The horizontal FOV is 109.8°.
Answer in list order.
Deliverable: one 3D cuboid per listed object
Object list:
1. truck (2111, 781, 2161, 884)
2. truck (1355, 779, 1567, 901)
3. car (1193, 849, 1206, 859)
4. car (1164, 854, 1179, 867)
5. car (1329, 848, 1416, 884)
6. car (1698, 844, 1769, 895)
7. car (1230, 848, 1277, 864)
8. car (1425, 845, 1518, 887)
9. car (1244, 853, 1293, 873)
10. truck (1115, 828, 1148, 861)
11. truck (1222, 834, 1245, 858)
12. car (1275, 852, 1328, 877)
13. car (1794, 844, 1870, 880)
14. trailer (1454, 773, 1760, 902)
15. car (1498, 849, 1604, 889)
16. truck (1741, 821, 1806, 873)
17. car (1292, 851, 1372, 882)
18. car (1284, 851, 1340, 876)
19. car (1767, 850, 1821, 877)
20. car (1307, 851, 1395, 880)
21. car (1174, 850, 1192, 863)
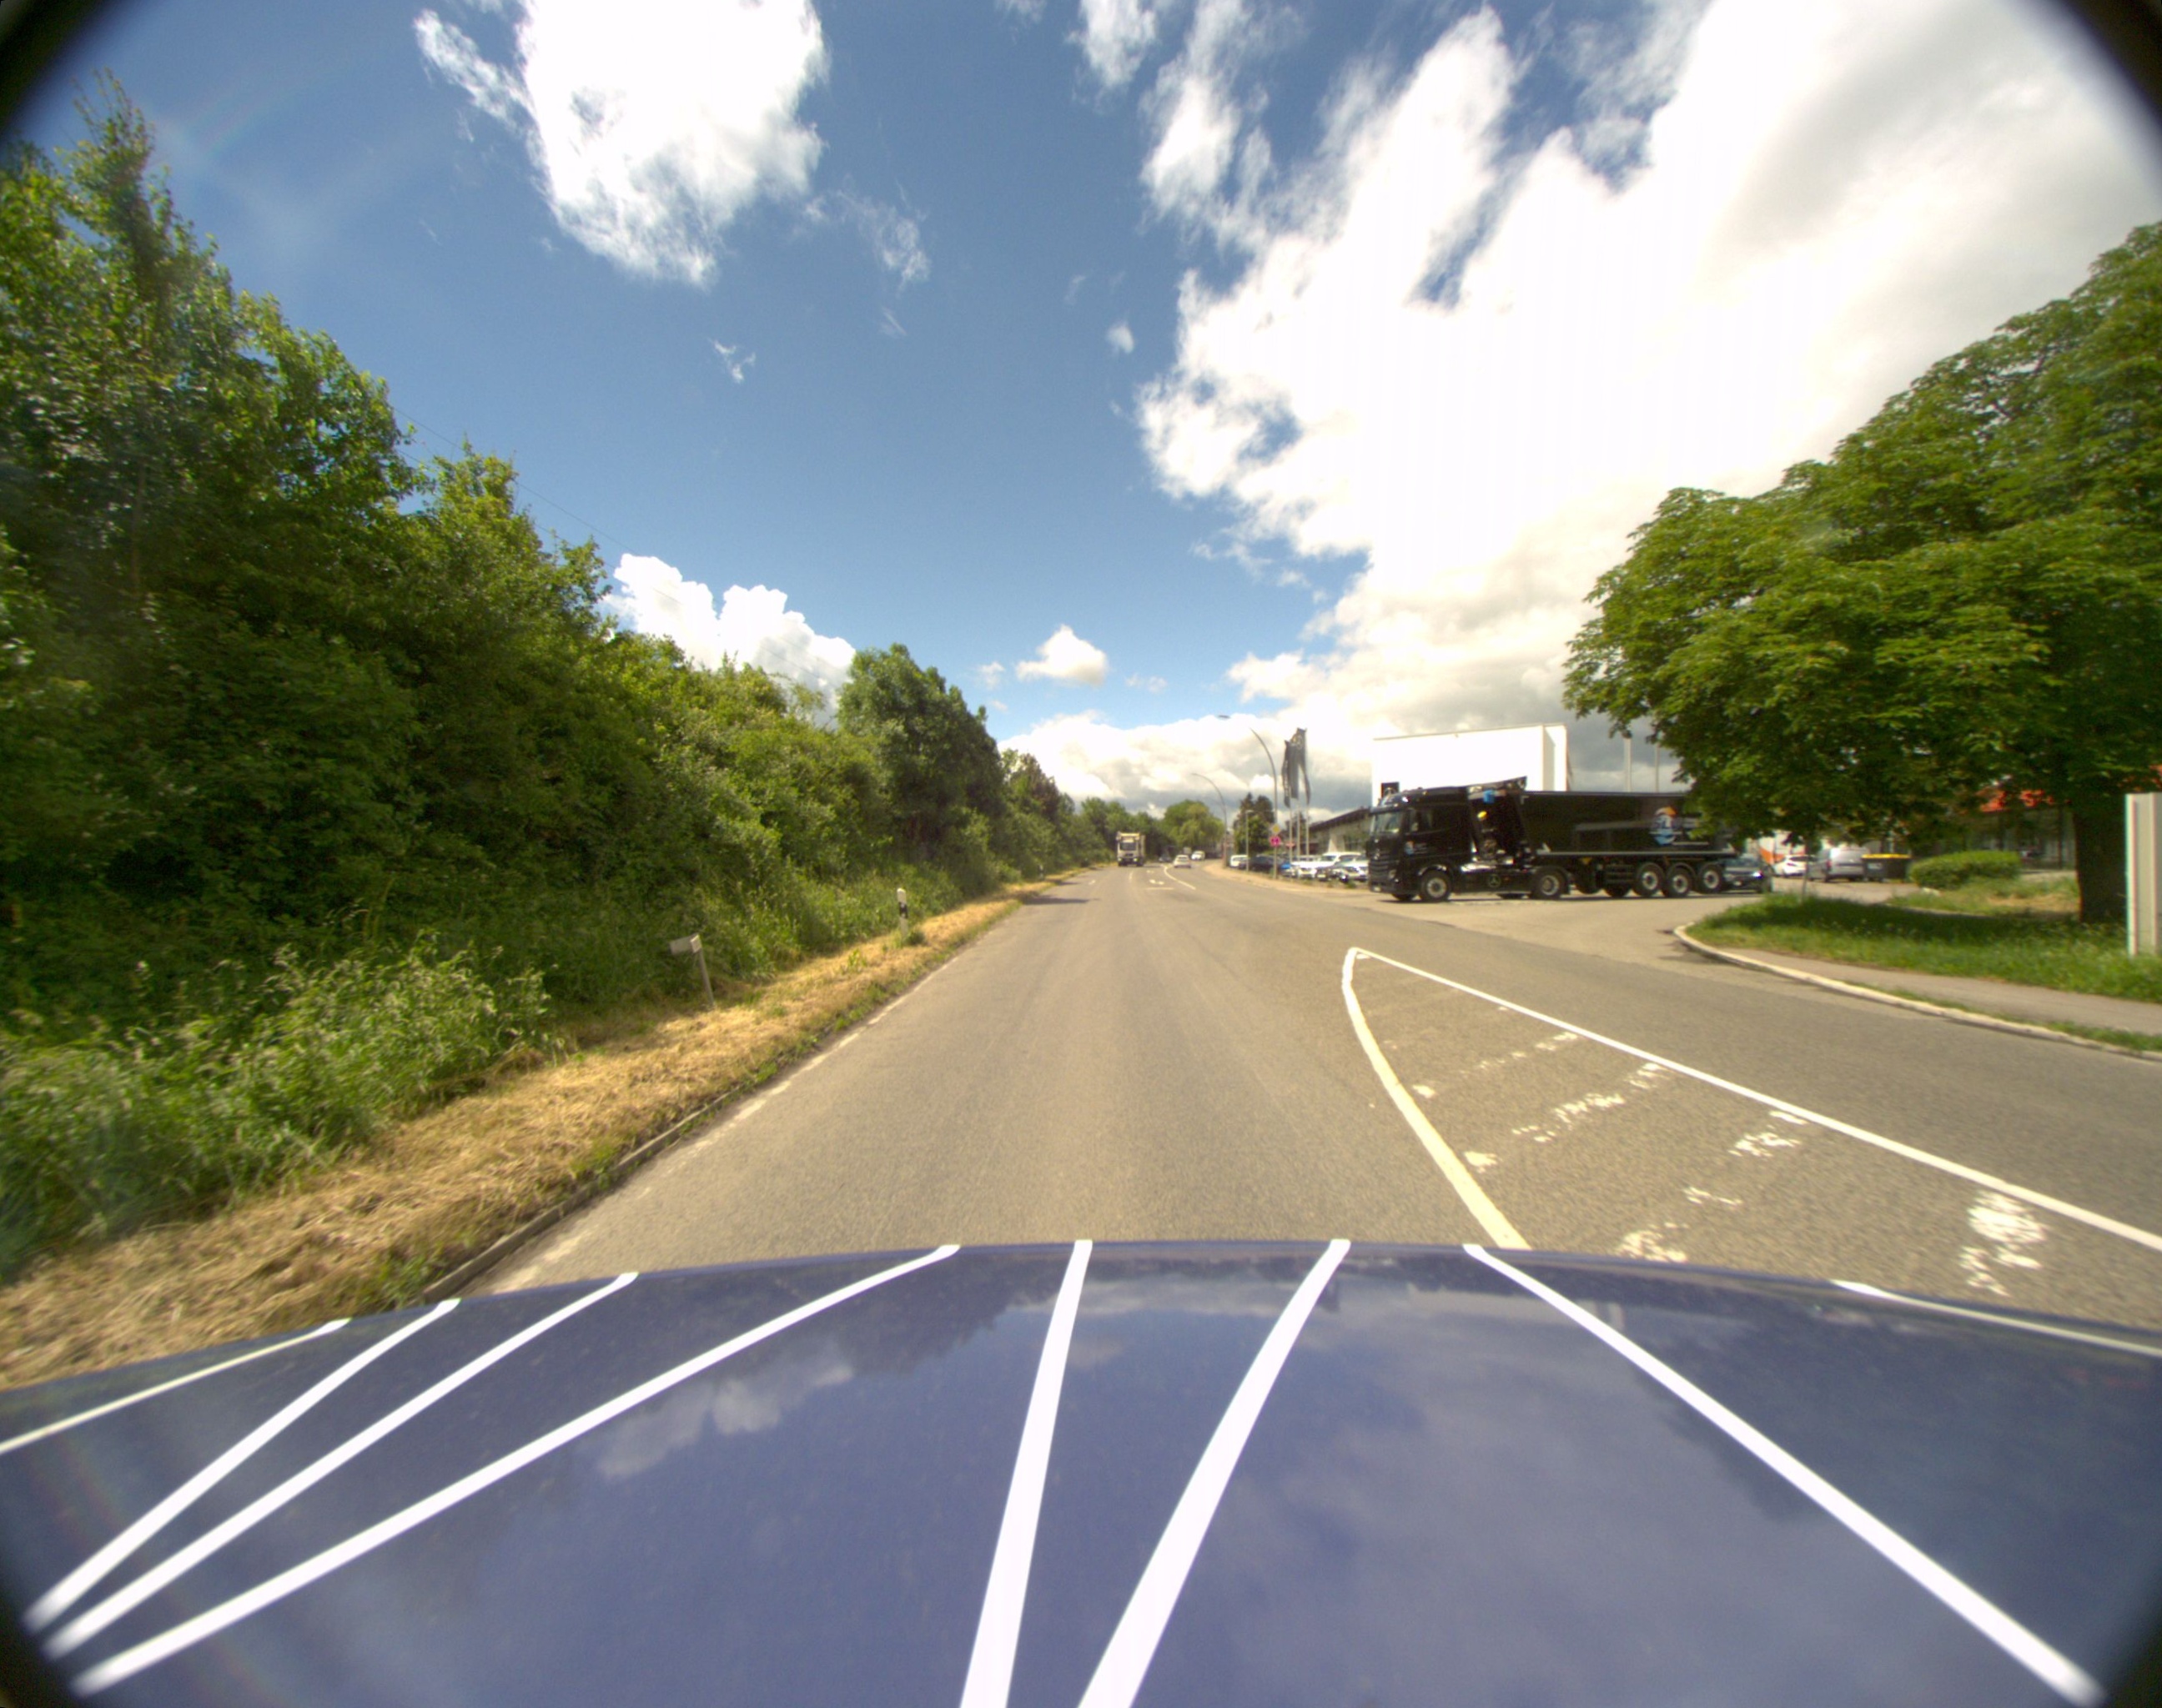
[{"bbox_3d":[32.118,-0.626,19.636,2.658,3.031,8.606,0,0,25],"label":"truck"},{"bbox_3d":[12.477,-0.456,25.339,5.569,3.801,2.983,0,1,-3],"label":"truck"},{"bbox_3d":[23.859,-0.084,152.913,1.951,2.002,4.006,0,0,20],"label":"car"},{"bbox_3d":[14.576,0.993,122.452,1.952,2.002,4.004,0,0,12],"label":"car"},{"bbox_3d":[13.943,0.538,36.183,4.752,1.595,1.983,-1,0,-43],"label":"car"},{"bbox_3d":[25.958,0.554,30.165,1.952,1.865,4.126,0,0,43],"label":"car"},{"bbox_3d":[19.744,0.229,87.204,4.944,1.827,1.897,1,0,42],"label":"car"},{"bbox_3d":[17.065,0.503,33.470,1.935,1.711,4.601,-1,0,3],"label":"car"},{"bbox_3d":[16.227,0.782,65.853,1.806,1.615,4.344,-4,0,-22],"label":"car"},{"bbox_3d":[6.082,-1.100,89.691,2.902,3.746,9.641,0,1,10],"label":"truck"},{"bbox_3d":[29.964,-1.585,149.008,2.976,4.634,8.191,0,1,21],"label":"truck"},{"bbox_3d":[15.702,0.703,53.986,1.889,1.659,4.580,-2,-1,40],"label":"car"},{"bbox_3d":[39.791,0.394,40.380,1.828,1.835,4.683,0,0,31],"label":"car"},{"bbox_3d":[18.294,-0.535,26.569,9.471,4.059,3.315,0,1,-14],"label":"trailer"},{"bbox_3d":[20.061,0.594,32.686,1.802,1.592,4.765,1,0,3],"label":"car"},{"bbox_3d":[49.128,-0.484,54.106,2.440,3.403,7.837,0,0,35],"label":"truck"},{"bbox_3d":[14.409,0.688,43.618,4.305,1.668,1.932,-1,0,-28],"label":"car"},{"bbox_3d":[15.266,0.617,50.083,1.868,1.557,4.531,-2,-1,40],"label":"car"},{"bbox_3d":[44.128,0.537,47.107,1.726,1.584,4.008,0,0,32],"label":"car"},{"bbox_3d":[14.246,0.602,40.019,4.334,1.457,1.793,-1,-1,-25],"label":"car"},{"bbox_3d":[11.748,0.261,87.272,1.997,1.442,4.429,1,1,8],"label":"car"}]
